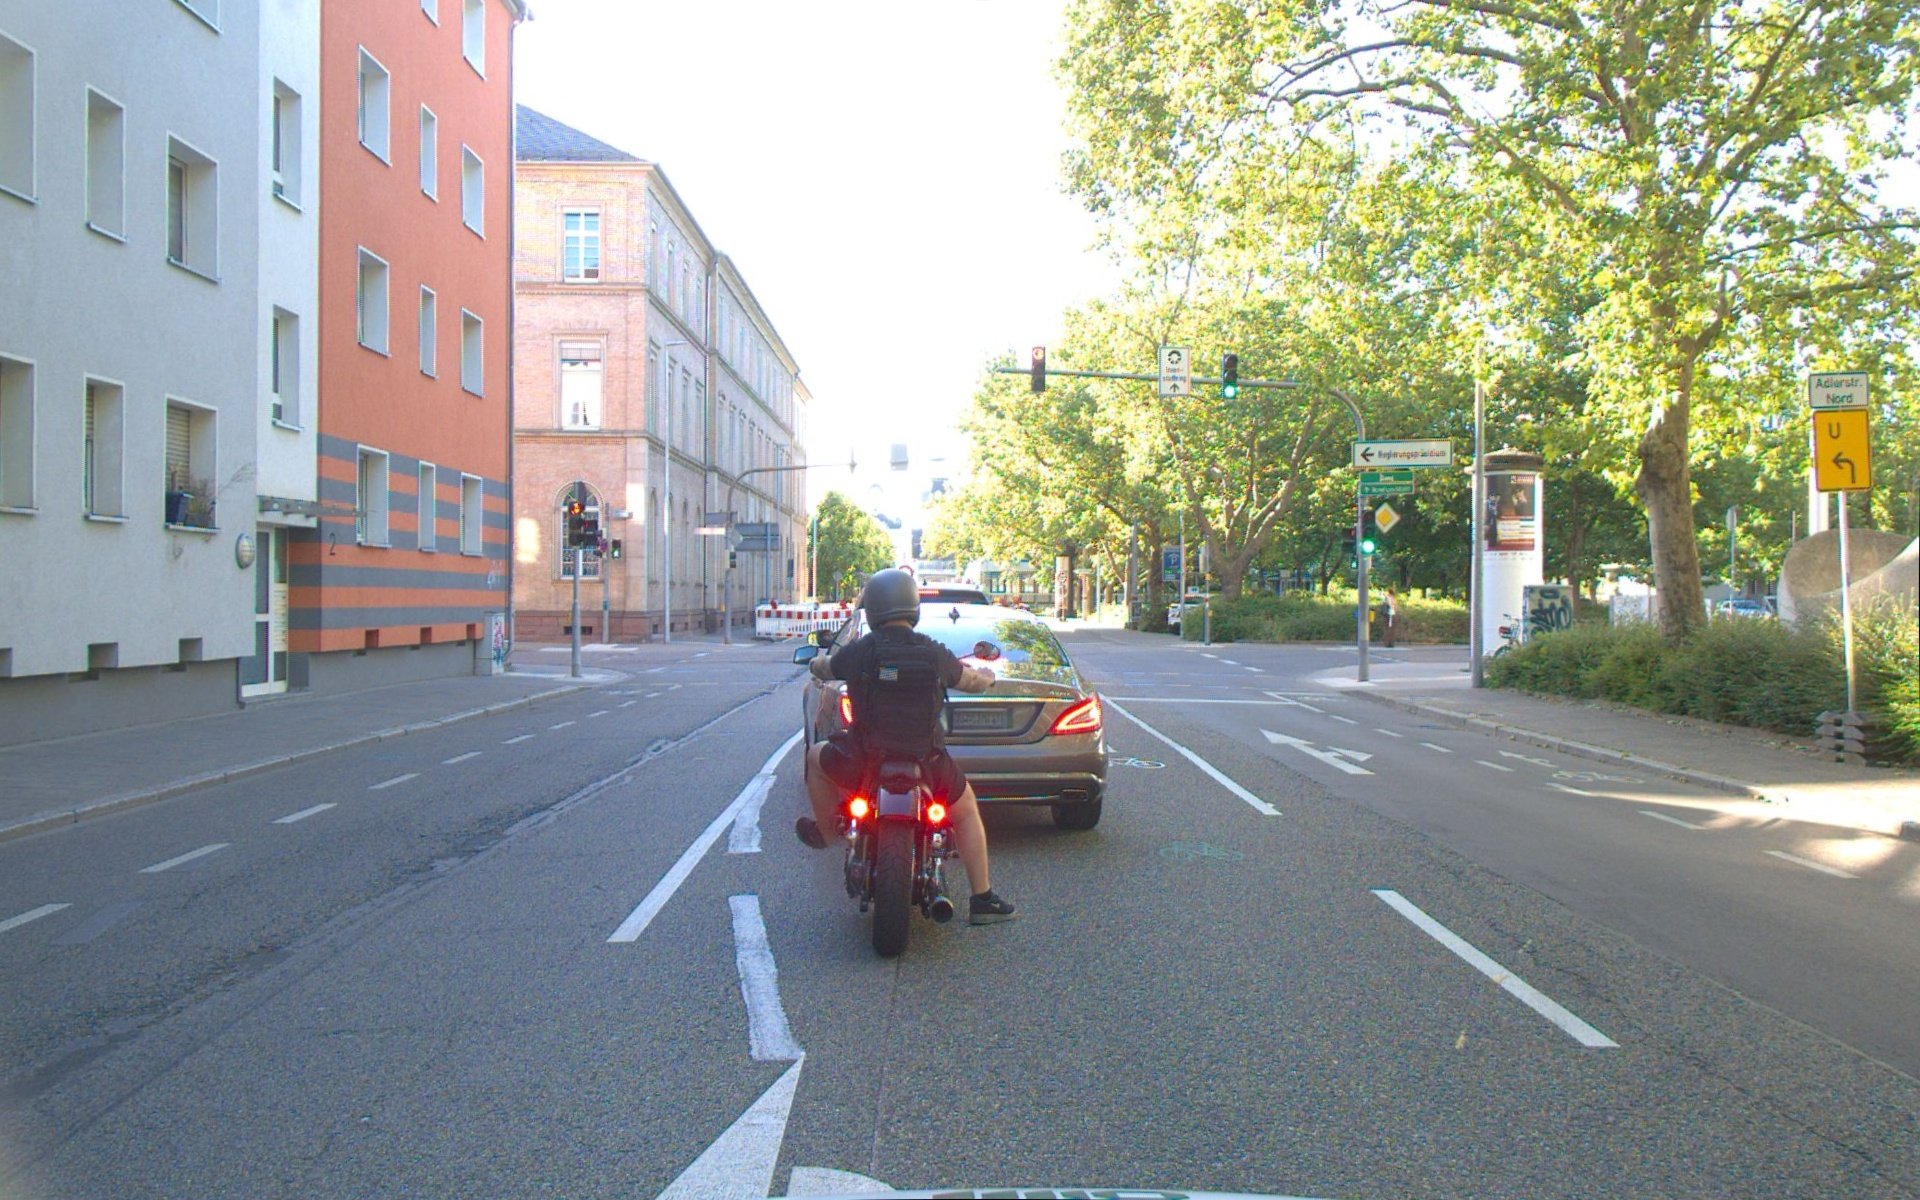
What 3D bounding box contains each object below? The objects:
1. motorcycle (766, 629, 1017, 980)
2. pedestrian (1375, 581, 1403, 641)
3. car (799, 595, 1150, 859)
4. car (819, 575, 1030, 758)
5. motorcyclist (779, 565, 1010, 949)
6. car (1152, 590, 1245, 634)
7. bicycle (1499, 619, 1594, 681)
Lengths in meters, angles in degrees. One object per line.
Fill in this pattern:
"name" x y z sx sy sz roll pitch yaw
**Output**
"motorcycle" -0.279 0.807 7.563 0.961 1.297 2.407 0 0 -1
"pedestrian" 13.173 0.338 50.776 0.664 1.803 0.616 1 -1 29
"car" -0.115 0.710 11.625 1.834 1.469 4.422 0 0 -8
"car" -0.364 0.633 17.545 1.953 1.695 3.999 1 0 -1
"motorcyclist" -0.280 0.653 7.538 0.961 1.606 1.248 0 0 -1
"car" 10.028 0.511 69.359 1.912 1.738 4.463 2 0 38
"bicycle" 9.786 0.837 27.601 1.452 0.997 0.299 1 -1 5
